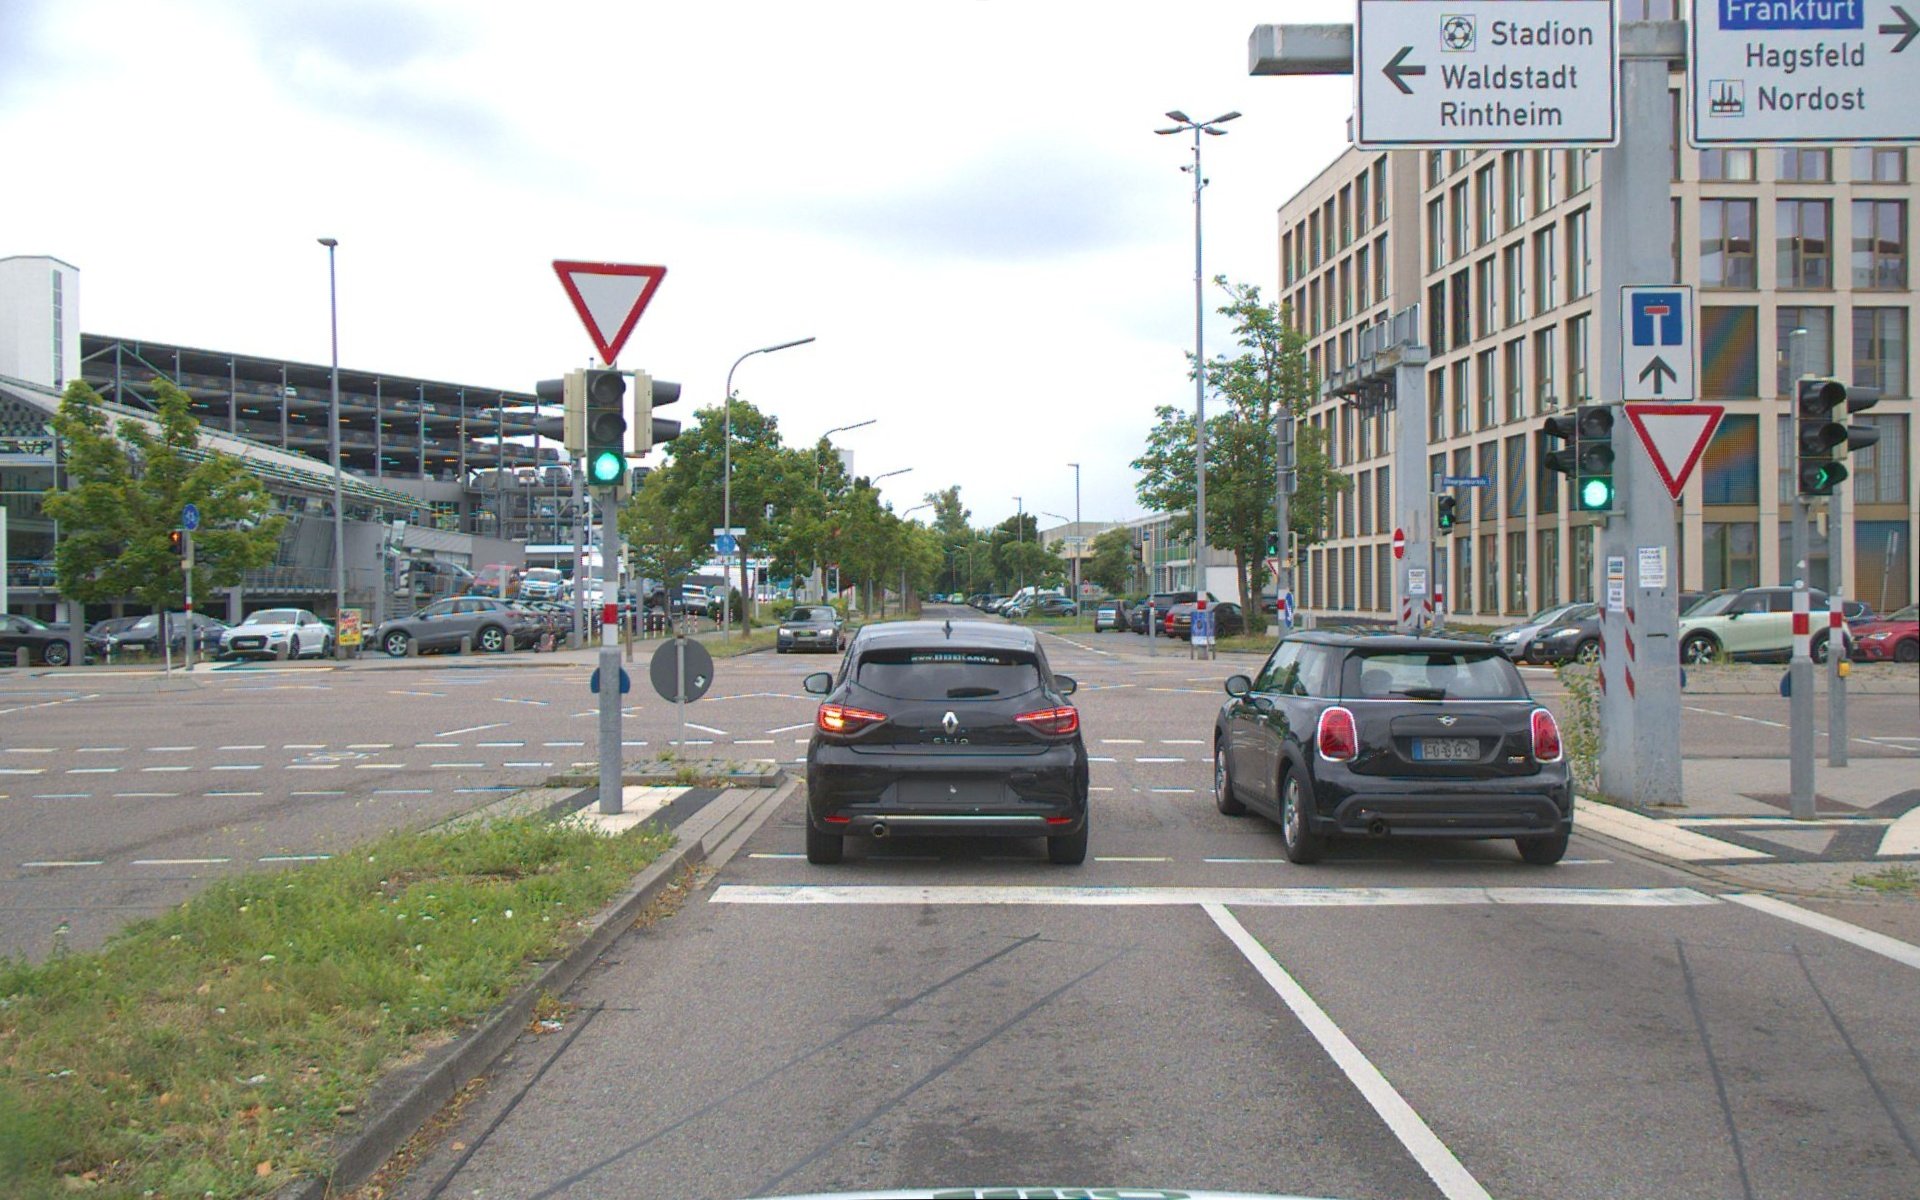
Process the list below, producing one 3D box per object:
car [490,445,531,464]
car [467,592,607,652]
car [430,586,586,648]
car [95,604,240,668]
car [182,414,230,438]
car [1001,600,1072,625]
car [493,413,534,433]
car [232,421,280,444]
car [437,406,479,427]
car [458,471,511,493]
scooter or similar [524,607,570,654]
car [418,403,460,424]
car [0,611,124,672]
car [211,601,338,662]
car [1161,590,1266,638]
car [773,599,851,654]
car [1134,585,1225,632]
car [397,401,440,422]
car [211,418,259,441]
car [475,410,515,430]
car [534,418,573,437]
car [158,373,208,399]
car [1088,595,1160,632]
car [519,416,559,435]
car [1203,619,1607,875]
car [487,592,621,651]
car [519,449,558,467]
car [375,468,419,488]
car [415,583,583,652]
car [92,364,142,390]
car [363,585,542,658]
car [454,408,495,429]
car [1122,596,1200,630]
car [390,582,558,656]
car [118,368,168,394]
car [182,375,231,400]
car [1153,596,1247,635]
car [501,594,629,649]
[{"bbox_3d":[-47.380,-15.364,174.289,3.914,1.696,1.995,0,0,32],"label":"car"},{"bbox_3d":[-15.934,0.832,62.502,4.798,2.049,1.998,-2,-1,-5],"label":"car"},{"bbox_3d":[-15.577,0.600,57.199,4.852,1.909,2.051,-2,-1,-7],"label":"car"},{"bbox_3d":[-21.059,1.006,44.150,2.023,1.512,4.511,-2,-3,-5],"label":"car"},{"bbox_3d":[-65.255,-15.042,143.138,3.914,1.696,1.995,0,0,32],"label":"car"},{"bbox_3d":[5.619,0.920,121.774,5.070,1.750,2.142,1,-1,-3],"label":"car"},{"bbox_3d":[-47.100,-18.687,174.509,3.914,1.696,1.995,0,0,32],"label":"car"},{"bbox_3d":[-62.710,-14.935,147.303,3.914,1.696,1.995,0,0,32],"label":"car"},{"bbox_3d":[-51.081,-18.615,168.177,3.914,1.696,1.995,0,0,32],"label":"car"},{"bbox_3d":[-49.669,-12.338,172.748,5.212,1.979,2.208,0,0,28],"label":"car"},{"bbox_3d":[-11.562,0.847,46.360,0.545,1.240,1.561,2,1,13],"label":"scooter or similar"},{"bbox_3d":[-52.131,-18.633,165.543,3.914,1.696,1.995,0,0,32],"label":"car"},{"bbox_3d":[-25.037,1.130,43.922,4.645,1.512,1.891,-1,-3,-4],"label":"car"},{"bbox_3d":[-18.306,0.879,44.369,1.832,1.512,4.226,-1,-2,-3],"label":"car"},{"bbox_3d":[9.960,0.558,64.917,4.095,1.799,1.861,0,-1,-40],"label":"car"},{"bbox_3d":[-4.510,0.775,51.085,1.938,1.578,4.614,0,0,0],"label":"car"},{"bbox_3d":[9.646,0.393,72.505,1.964,2.000,4.221,-1,-1,41],"label":"car"},{"bbox_3d":[-53.460,-18.610,163.228,3.914,1.696,1.995,0,0,32],"label":"car"},{"bbox_3d":[-63.698,-14.980,145.305,3.914,1.696,1.995,0,0,32],"label":"car"},{"bbox_3d":[-48.465,-18.749,172.388,3.914,1.696,1.995,0,0,32],"label":"car"},{"bbox_3d":[-44.212,-18.770,179.835,3.914,1.696,1.995,0,0,32],"label":"car"},{"bbox_3d":[-66.344,-18.258,141.226,3.914,1.696,1.995,0,0,32],"label":"car"},{"bbox_3d":[8.153,0.702,82.201,3.405,1.762,1.739,2,-1,-42],"label":"car"},{"bbox_3d":[-45.290,-18.771,177.881,3.914,1.696,1.995,0,0,32],"label":"car"},{"bbox_3d":[2.826,0.873,11.324,1.749,1.440,3.642,1,-1,-1],"label":"car"},{"bbox_3d":[-15.959,0.845,65.221,4.798,2.049,1.998,-2,-1,-5],"label":"car"},{"bbox_3d":[-45.283,-15.228,177.659,3.914,1.696,1.995,0,0,32],"label":"car"},{"bbox_3d":[-54.818,-11.838,161.017,3.914,1.696,1.995,0,0,32],"label":"car"},{"bbox_3d":[-15.139,0.577,54.575,4.925,2.049,2.263,-2,-1,-5],"label":"car"},{"bbox_3d":[-69.589,-18.392,136.542,3.914,1.696,1.995,0,0,32],"label":"car"},{"bbox_3d":[-14.966,0.632,48.999,4.679,1.895,1.998,-2,-1,-5],"label":"car"},{"bbox_3d":[-49.956,-18.647,170.166,3.914,1.696,1.995,0,0,32],"label":"car"},{"bbox_3d":[9.231,0.606,75.901,1.667,1.538,3.794,-1,-1,42],"label":"car"},{"bbox_3d":[-15.092,0.592,51.568,4.609,2.049,1.998,-2,-1,-5],"label":"car"},{"bbox_3d":[-68.500,-18.337,138.728,3.914,1.696,1.995,0,0,32],"label":"car"},{"bbox_3d":[-65.322,-18.423,143.418,3.914,1.696,1.995,0,0,32],"label":"car"},{"bbox_3d":[10.085,0.640,69.305,1.857,1.578,4.104,-1,-1,44],"label":"car"},{"bbox_3d":[-16.187,0.889,68.049,4.798,2.049,1.998,-2,-1,-5],"label":"car"}]
